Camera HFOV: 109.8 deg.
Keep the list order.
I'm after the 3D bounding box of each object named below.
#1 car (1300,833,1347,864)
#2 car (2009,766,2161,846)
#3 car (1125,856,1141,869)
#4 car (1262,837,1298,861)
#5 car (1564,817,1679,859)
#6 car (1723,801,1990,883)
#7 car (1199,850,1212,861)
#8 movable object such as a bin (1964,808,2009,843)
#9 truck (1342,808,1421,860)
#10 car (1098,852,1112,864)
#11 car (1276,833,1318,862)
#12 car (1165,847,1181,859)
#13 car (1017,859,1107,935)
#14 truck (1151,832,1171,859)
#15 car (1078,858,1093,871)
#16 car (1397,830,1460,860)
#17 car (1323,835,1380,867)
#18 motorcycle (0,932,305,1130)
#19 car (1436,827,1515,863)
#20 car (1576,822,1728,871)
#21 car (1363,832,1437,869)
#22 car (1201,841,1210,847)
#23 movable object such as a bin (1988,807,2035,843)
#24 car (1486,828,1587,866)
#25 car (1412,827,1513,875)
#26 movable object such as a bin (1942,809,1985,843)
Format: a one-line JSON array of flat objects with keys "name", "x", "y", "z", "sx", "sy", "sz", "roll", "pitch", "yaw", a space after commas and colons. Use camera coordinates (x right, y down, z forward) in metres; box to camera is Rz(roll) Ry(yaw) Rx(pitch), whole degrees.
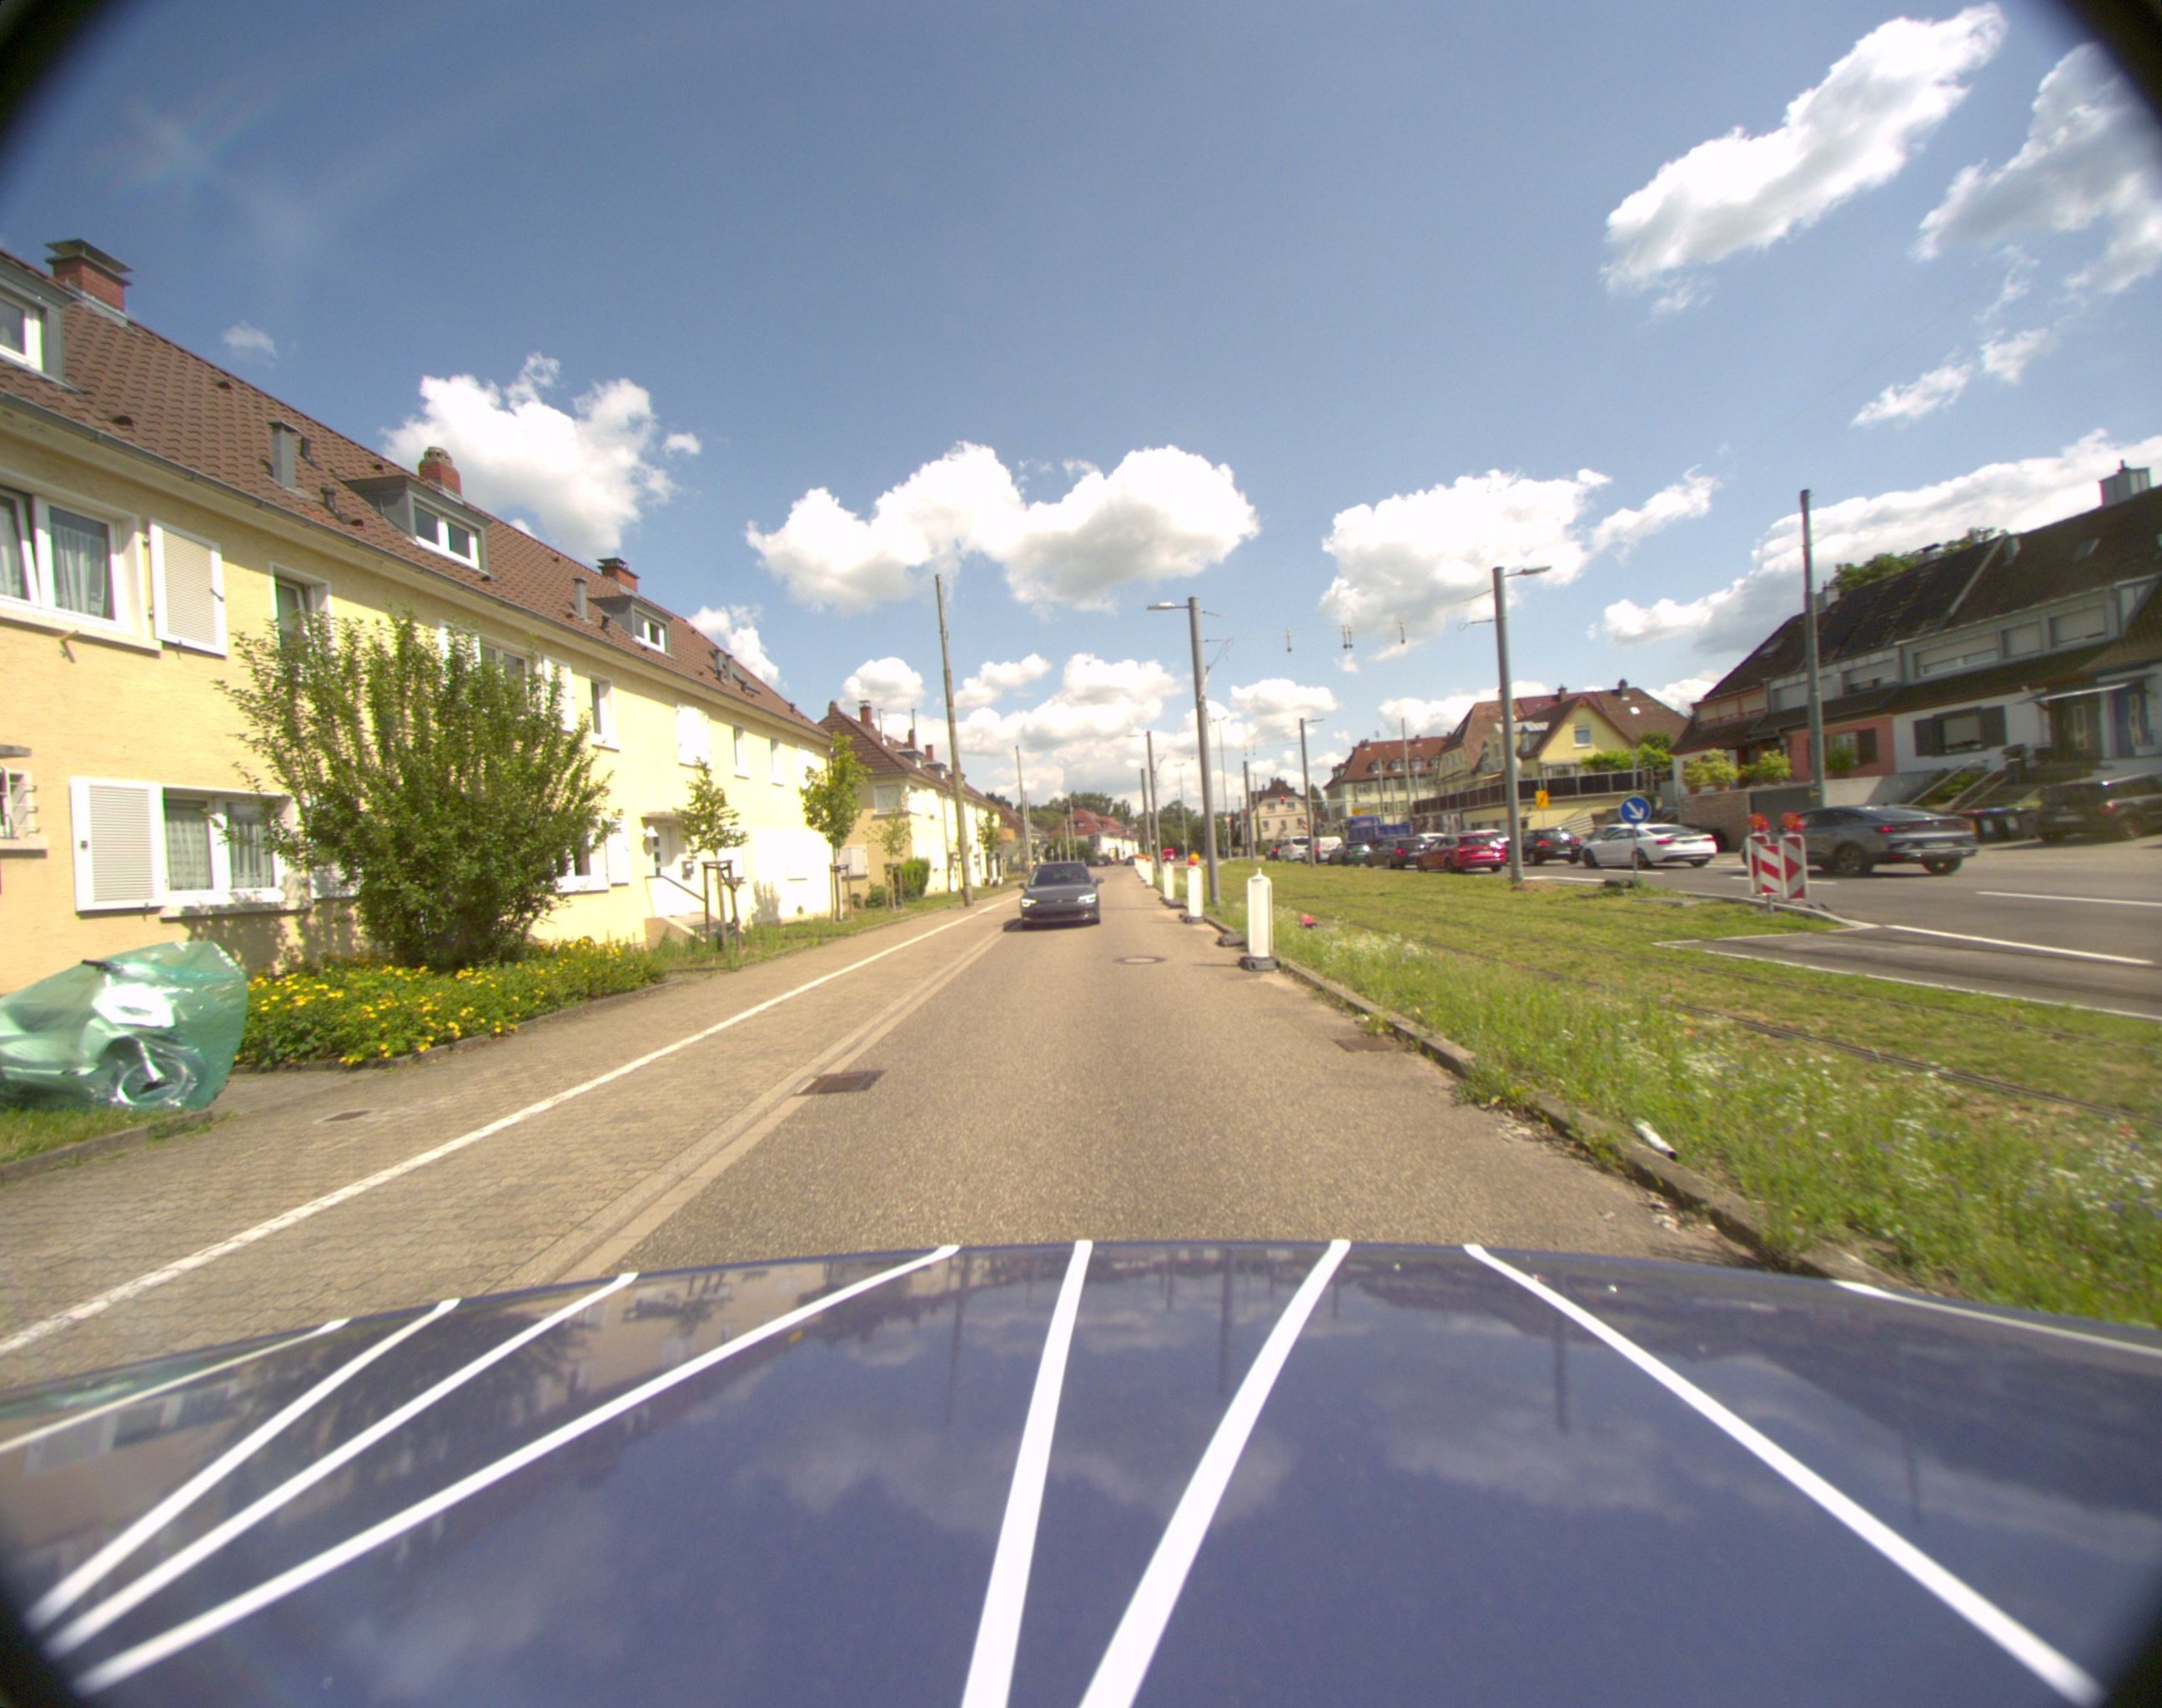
[{"name": "car", "x": 15.831, "y": -0.348, "z": 49.785, "sx": 1.729, "sy": 1.843, "sz": 4.542, "roll": -4, "pitch": 0, "yaw": 2}, {"name": "car", "x": 26.730, "y": -1.255, "z": 19.330, "sx": 3.997, "sy": 1.835, "sz": 1.802, "roll": -4, "pitch": 0, "yaw": -1}, {"name": "car", "x": 6.818, "y": 1.053, "z": 100.037, "sx": 1.879, "sy": 1.543, "sz": 4.985, "roll": -4, "pitch": 0, "yaw": 1}, {"name": "car", "x": 16.680, "y": -0.396, "z": 63.905, "sx": 1.922, "sy": 1.770, "sz": 4.542, "roll": -4, "pitch": 0, "yaw": 2}, {"name": "car", "x": 22.654, "y": -0.631, "z": 32.080, "sx": 1.729, "sy": 1.553, "sz": 4.542, "roll": -4, "pitch": 0, "yaw": 3}, {"name": "car", "x": 17.465, "y": -0.258, "z": 17.541, "sx": 1.729, "sy": 1.518, "sz": 4.773, "roll": -4, "pitch": 0, "yaw": 8}, {"name": "car", "x": 24.312, "y": 0.314, "z": 148.445, "sx": 2.283, "sy": 1.861, "sz": 4.989, "roll": -4, "pitch": 0, "yaw": 10}, {"name": "movable object such as a bin", "x": 25.835, "y": -0.813, "z": 21.686, "sx": 0.517, "sy": 0.947, "sz": 0.583, "roll": -4, "pitch": 0, "yaw": 1}, {"name": "truck", "x": 20.675, "y": -1.327, "z": 52.817, "sx": 2.842, "sy": 3.135, "sz": 7.936, "roll": -4, "pitch": 0, "yaw": 5}, {"name": "car", "x": 3.437, "y": 0.557, "z": 109.689, "sx": 1.879, "sy": 1.543, "sz": 4.985, "roll": -4, "pitch": 0, "yaw": 1}, {"name": "car", "x": 16.262, "y": -0.473, "z": 57.409, "sx": 1.922, "sy": 1.953, "sz": 4.542, "roll": -4, "pitch": 0, "yaw": 2}, {"name": "car", "x": 15.834, "y": -0.190, "z": 130.650, "sx": 2.283, "sy": 1.861, "sz": 4.988, "roll": -4, "pitch": 0, "yaw": 10}, {"name": "car", "x": -0.323, "y": 0.937, "z": 18.395, "sx": 1.742, "sy": 1.513, "sz": 4.702, "roll": -2, "pitch": 0, "yaw": 4}, {"name": "truck", "x": 17.059, "y": -1.733, "z": 160.899, "sx": 3.475, "sy": 5.153, "sz": 14.224, "roll": -4, "pitch": 0, "yaw": 7}, {"name": "car", "x": 0.638, "y": 1.427, "z": 101.831, "sx": 1.879, "sy": 1.543, "sz": 4.985, "roll": -4, "pitch": 0, "yaw": 1}, {"name": "car", "x": 20.277, "y": -0.492, "z": 44.546, "sx": 1.729, "sy": 1.553, "sz": 4.542, "roll": -4, "pitch": 0, "yaw": 2}, {"name": "car", "x": 15.263, "y": -0.167, "z": 43.153, "sx": 1.729, "sy": 1.553, "sz": 4.542, "roll": -4, "pitch": 0, "yaw": 2}, {"name": "motorcycle", "x": -7.274, "y": 1.282, "z": 5.605, "sx": 2.233, "sy": 1.190, "sz": 0.854, "roll": -4, "pitch": 0, "yaw": 4}, {"name": "car", "x": 19.543, "y": -0.438, "z": 37.904, "sx": 1.729, "sy": 1.553, "sz": 4.542, "roll": -4, "pitch": 0, "yaw": 3}, {"name": "car", "x": 18.067, "y": -0.227, "z": 24.366, "sx": 1.729, "sy": 1.327, "sz": 4.543, "roll": -4, "pitch": 0, "yaw": 5}, {"name": "car", "x": 15.016, "y": -0.155, "z": 36.024, "sx": 1.729, "sy": 1.553, "sz": 4.645, "roll": -4, "pitch": 0, "yaw": 3}, {"name": "car", "x": 32.858, "y": -2.678, "z": 200.528, "sx": 1.721, "sy": 1.582, "sz": 4.174, "roll": -4, "pitch": 0, "yaw": 5}, {"name": "movable object such as a bin", "x": 25.821, "y": -0.798, "z": 21.090, "sx": 0.517, "sy": 0.947, "sz": 0.610, "roll": -4, "pitch": 0, "yaw": 1}, {"name": "car", "x": 18.723, "y": -0.292, "z": 31.466, "sx": 1.729, "sy": 1.327, "sz": 4.543, "roll": -4, "pitch": 0, "yaw": 5}, {"name": "car", "x": 14.439, "y": -0.109, "z": 29.066, "sx": 1.729, "sy": 1.553, "sz": 4.542, "roll": -4, "pitch": 0, "yaw": 3}, {"name": "movable object such as a bin", "x": 25.851, "y": -0.805, "z": 22.268, "sx": 0.517, "sy": 0.947, "sz": 0.583, "roll": -4, "pitch": 0, "yaw": 1}]
